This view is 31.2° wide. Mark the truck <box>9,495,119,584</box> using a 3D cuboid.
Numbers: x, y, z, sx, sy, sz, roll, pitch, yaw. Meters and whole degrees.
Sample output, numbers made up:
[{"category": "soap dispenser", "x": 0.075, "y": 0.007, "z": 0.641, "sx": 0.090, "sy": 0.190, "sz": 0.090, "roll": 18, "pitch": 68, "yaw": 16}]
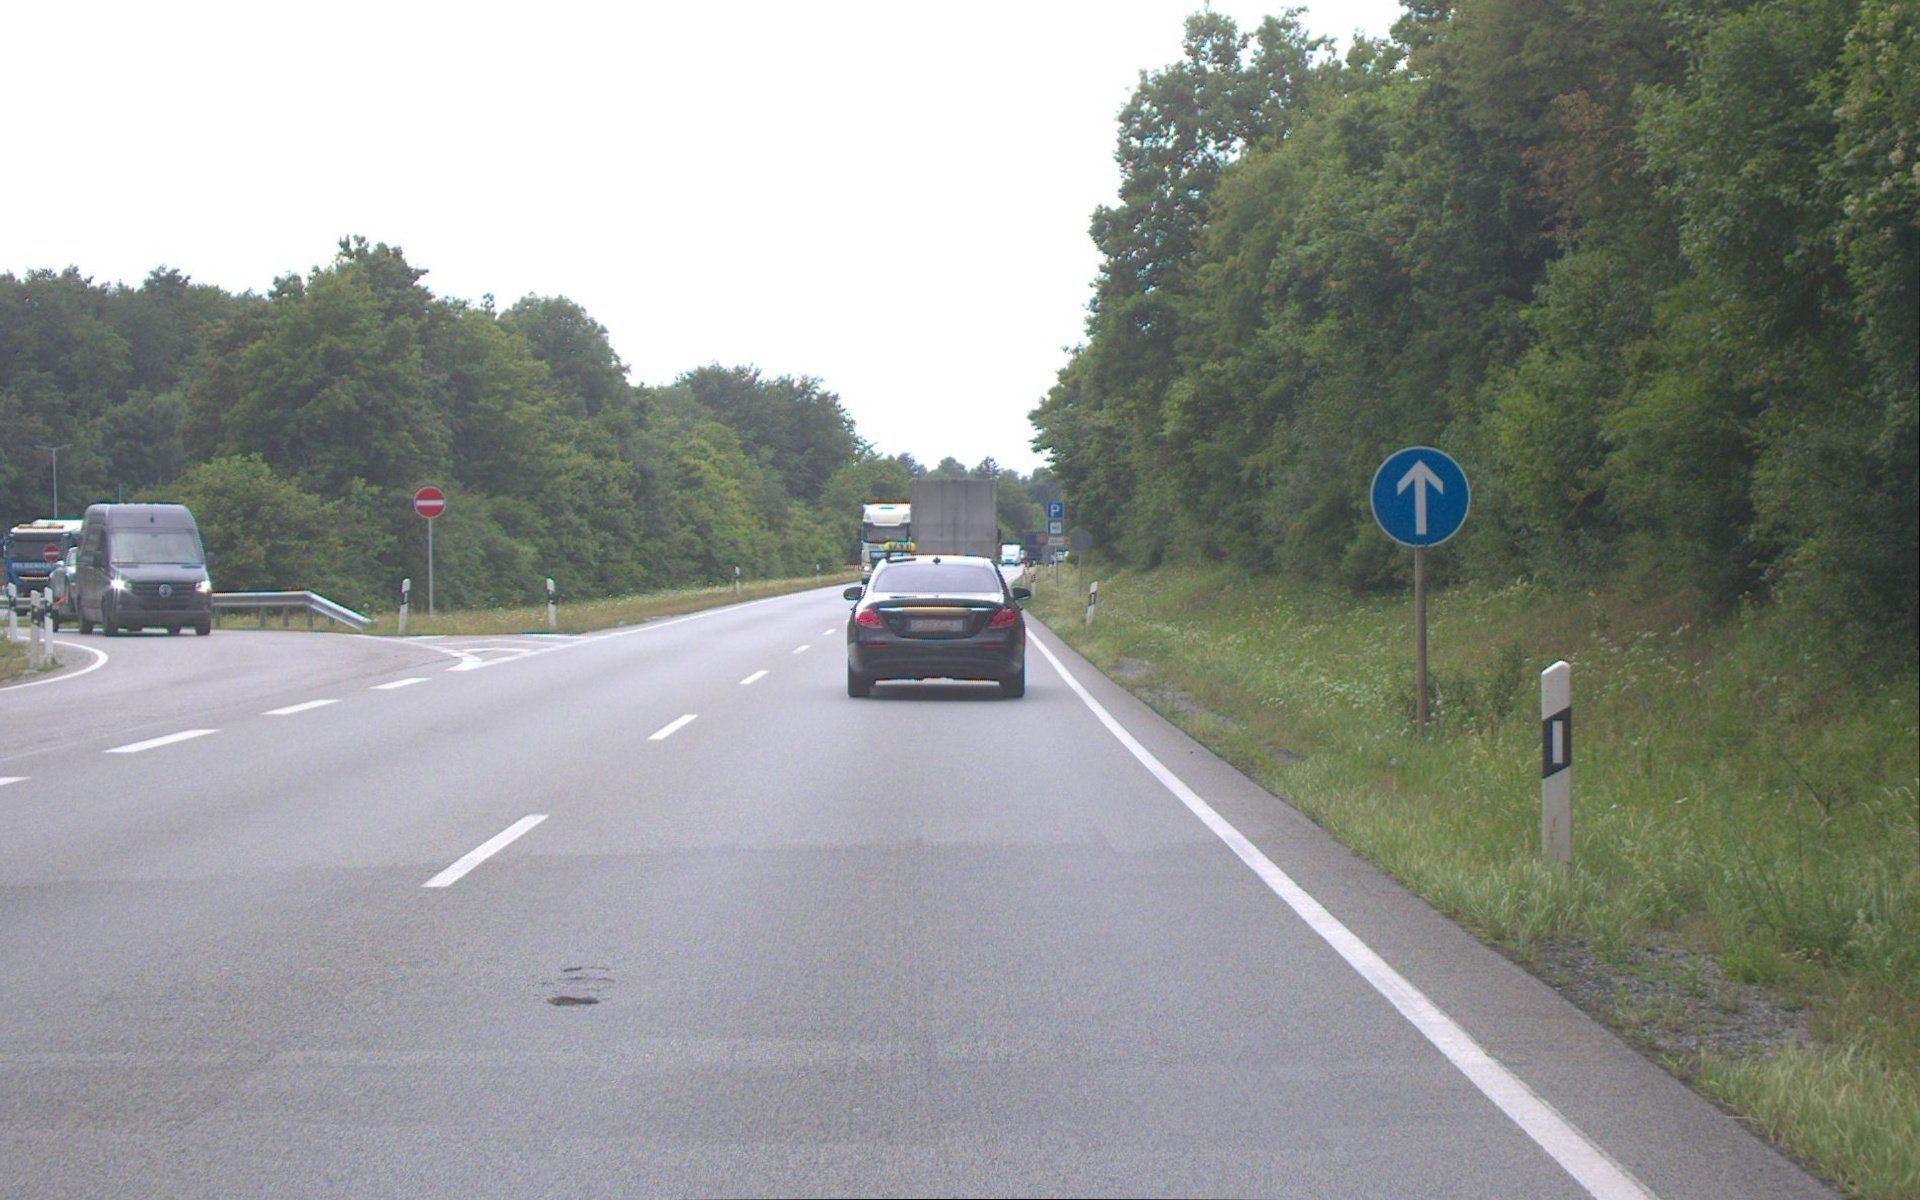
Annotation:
[{"category": "truck", "x": -31.369, "y": -2.088, "z": 120.565, "sx": 1.993, "sy": 3.002, "sz": 7.227, "roll": 0, "pitch": 1, "yaw": 0}]

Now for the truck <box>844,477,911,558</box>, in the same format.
[{"category": "truck", "x": -4.227, "y": -4.204, "z": 177.934, "sx": 3.189, "sy": 4.048, "sz": 9.576, "roll": 0, "pitch": 1, "yaw": 0}]

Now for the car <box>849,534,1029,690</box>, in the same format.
[{"category": "car", "x": -0.238, "y": 0.101, "z": 36.446, "sx": 1.791, "sy": 1.547, "sz": 4.000, "roll": 0, "pitch": 1, "yaw": -1}]

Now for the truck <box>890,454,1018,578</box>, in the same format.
[{"category": "truck", "x": -0.077, "y": -2.502, "z": 106.104, "sx": 3.281, "sy": 3.599, "sz": 11.399, "roll": 0, "pitch": 1, "yaw": 3}]

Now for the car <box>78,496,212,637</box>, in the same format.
[{"category": "car", "x": -15.962, "y": -0.671, "z": 67.637, "sx": 2.255, "sy": 2.521, "sz": 7.166, "roll": -3, "pitch": 1, "yaw": -12}]
